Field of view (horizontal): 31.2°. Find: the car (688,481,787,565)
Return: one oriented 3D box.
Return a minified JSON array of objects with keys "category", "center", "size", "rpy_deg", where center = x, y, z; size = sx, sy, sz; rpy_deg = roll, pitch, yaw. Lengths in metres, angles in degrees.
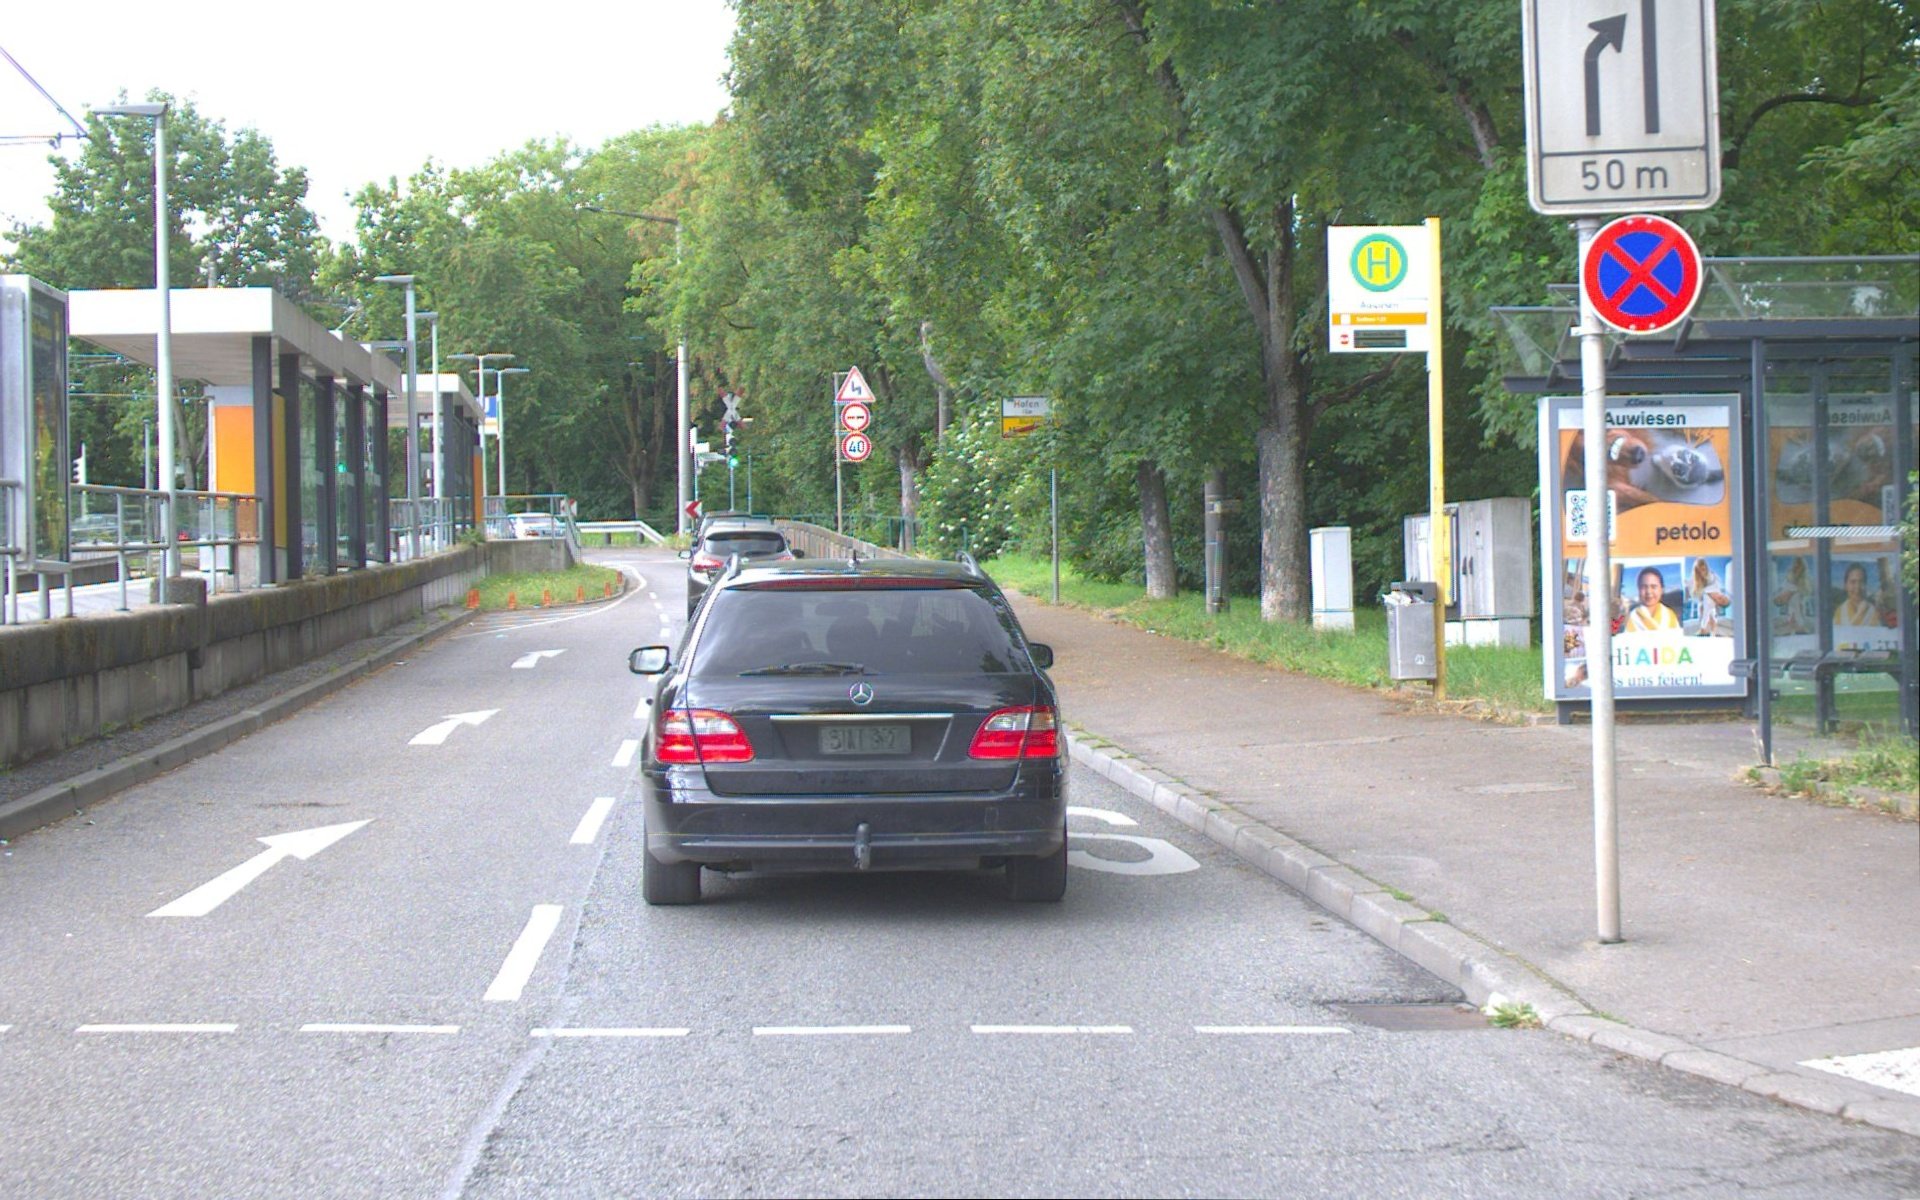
[{"category":"car","center":[-5.312,-1.807,81.820],"size":[1.993,1.911,4.001],"rpy_deg":[1,0,-8]}]

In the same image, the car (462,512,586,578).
[{"category":"car","center":[-12.901,-1.626,101.565],"size":[1.994,1.886,4.000],"rpy_deg":[1,0,-34]}]

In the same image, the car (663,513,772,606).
[{"category":"car","center":[-4.551,-0.739,64.179],"size":[1.781,1.642,4.001],"rpy_deg":[1,0,-7]}]

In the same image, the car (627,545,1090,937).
[{"category":"car","center":[-0.584,0.532,15.416],"size":[1.781,1.520,4.001],"rpy_deg":[1,1,-6]}]

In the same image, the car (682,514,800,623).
[{"category":"car","center":[-3.421,-0.516,54.210],"size":[1.781,1.642,4.001],"rpy_deg":[-1,1,-3]}]
